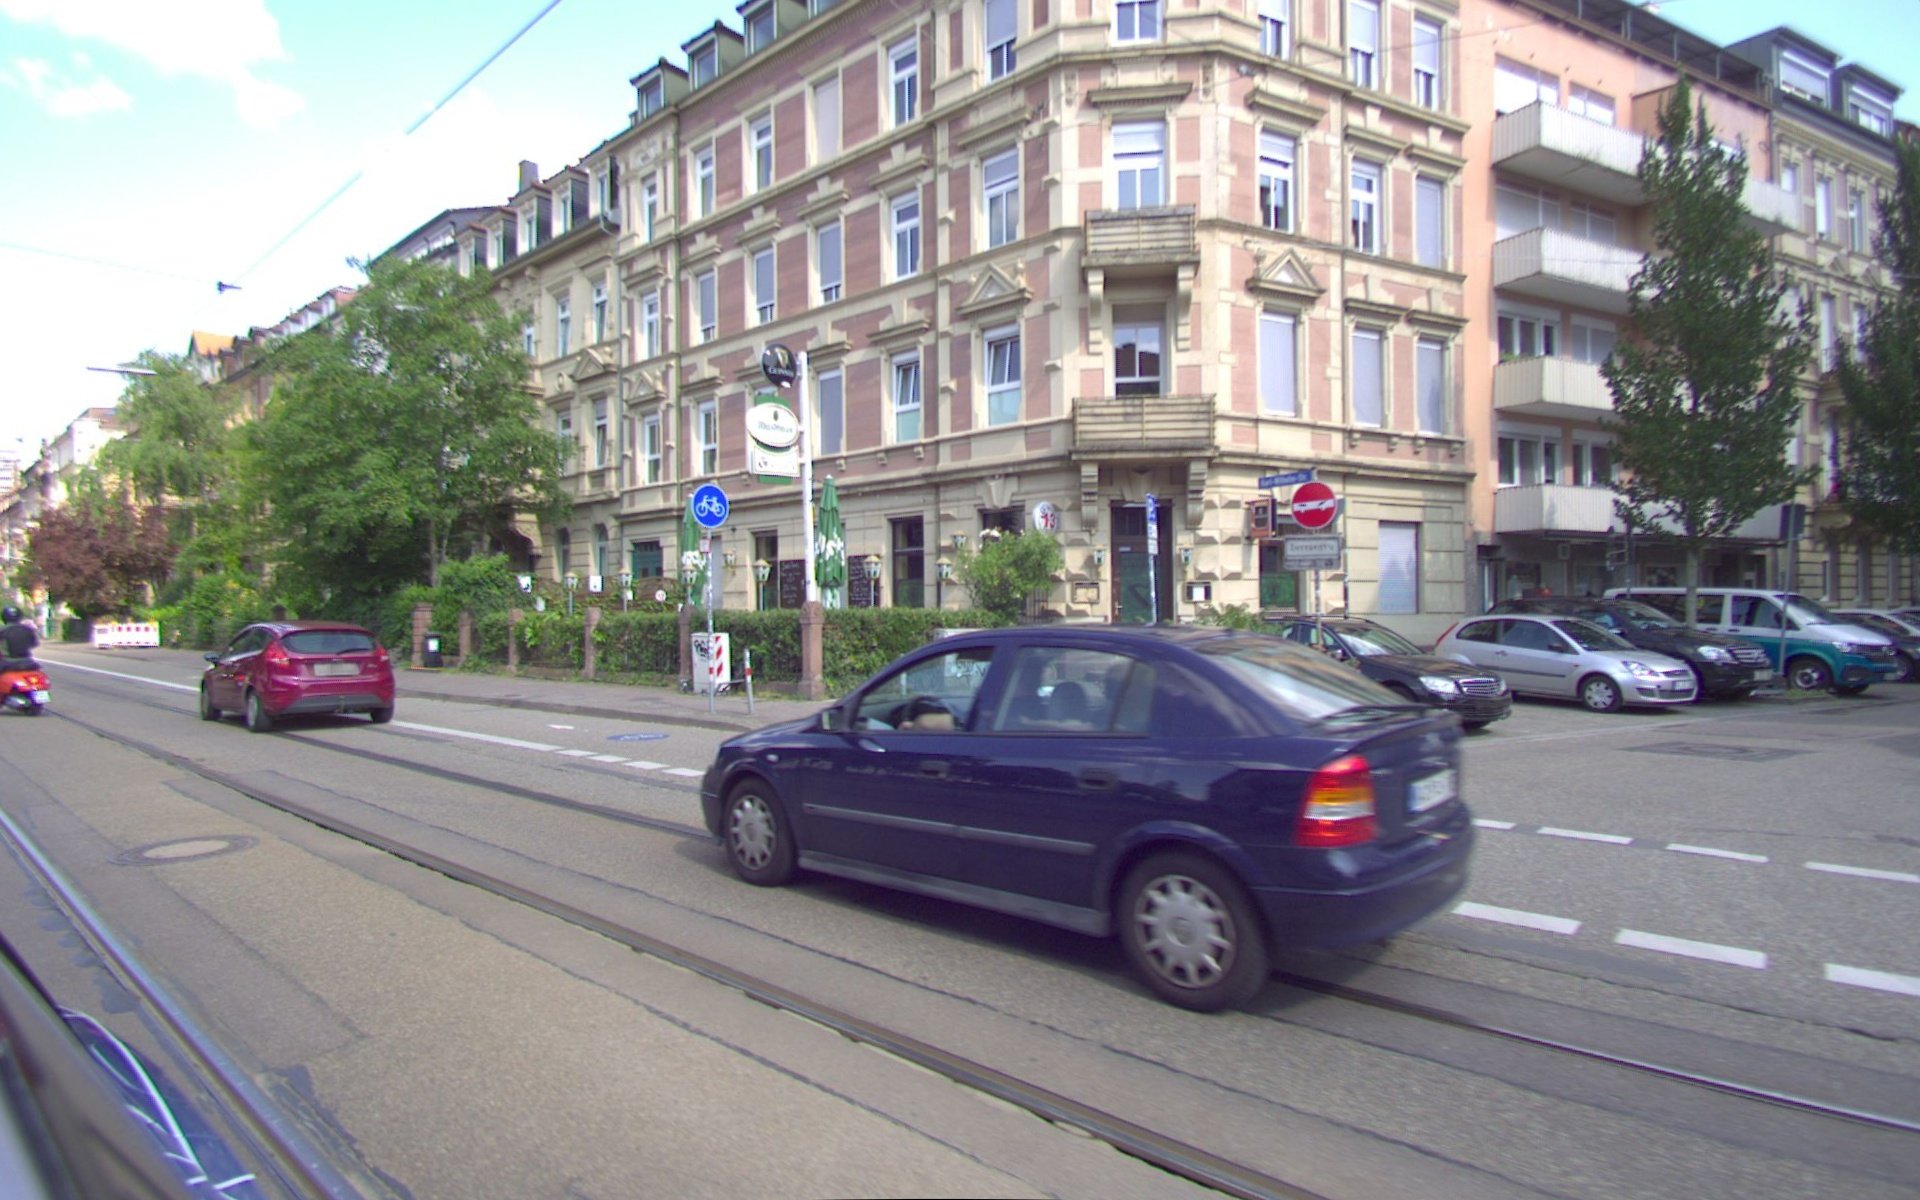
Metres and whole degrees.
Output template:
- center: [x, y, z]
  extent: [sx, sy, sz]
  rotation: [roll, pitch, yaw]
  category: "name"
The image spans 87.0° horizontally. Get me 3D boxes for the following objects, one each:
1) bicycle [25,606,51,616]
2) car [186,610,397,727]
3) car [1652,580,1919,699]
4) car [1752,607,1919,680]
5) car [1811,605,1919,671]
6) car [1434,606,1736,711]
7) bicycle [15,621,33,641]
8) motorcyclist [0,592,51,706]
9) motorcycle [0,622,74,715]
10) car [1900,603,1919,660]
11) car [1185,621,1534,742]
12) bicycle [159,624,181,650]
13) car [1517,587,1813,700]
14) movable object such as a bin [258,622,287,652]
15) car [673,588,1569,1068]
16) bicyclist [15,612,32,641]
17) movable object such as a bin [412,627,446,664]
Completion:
- center: [-88.004, 1.033, 96.615]
  extent: [0.483, 0.948, 1.731]
  rotation: [-1, -2, 40]
  category: "bicycle"
- center: [-9.649, 0.891, 14.493]
  extent: [3.935, 1.451, 1.577]
  rotation: [-1, -2, 42]
  category: "car"
- center: [15.508, 0.675, 19.146]
  extent: [1.675, 2.011, 3.598]
  rotation: [-1, 0, -26]
  category: "car"
- center: [19.716, 0.892, 21.760]
  extent: [1.860, 1.411, 3.781]
  rotation: [-1, 1, -26]
  category: "car"
- center: [21.862, 0.851, 22.723]
  extent: [1.860, 1.411, 3.781]
  rotation: [-1, 1, -26]
  category: "car"
- center: [9.993, 0.844, 16.489]
  extent: [1.860, 1.411, 3.781]
  rotation: [-1, 1, -26]
  category: "car"
- center: [-48.483, 1.606, 52.395]
  extent: [1.918, 0.997, 0.563]
  rotation: [-1, -1, 44]
  category: "bicycle"
- center: [-14.861, 0.745, 15.730]
  extent: [0.914, 1.727, 0.737]
  rotation: [-1, -1, 19]
  category: "motorcyclist"
- center: [-14.874, 1.041, 15.731]
  extent: [2.072, 1.370, 0.737]
  rotation: [-1, -1, 19]
  category: "motorcycle"
- center: [25.324, 0.787, 24.166]
  extent: [1.860, 1.411, 3.781]
  rotation: [-1, 1, -26]
  category: "car"
- center: [5.520, 1.032, 14.846]
  extent: [1.860, 1.375, 4.978]
  rotation: [-1, 0, -21]
  category: "car"
- center: [-34.752, 1.617, 44.509]
  extent: [1.818, 1.146, 0.408]
  rotation: [-1, -1, 41]
  category: "bicycle"
- center: [12.128, 0.687, 17.683]
  extent: [1.860, 1.719, 3.781]
  rotation: [-1, 0, -26]
  category: "car"
- center: [-26.239, 1.422, 38.645]
  extent: [0.733, 1.116, 0.765]
  rotation: [-1, -1, 41]
  category: "movable object such as a bin"
- center: [0.452, 0.699, 4.973]
  extent: [4.127, 1.418, 1.611]
  rotation: [-1, 0, 41]
  category: "car"
- center: [-48.562, 1.368, 52.475]
  extent: [0.942, 1.436, 0.558]
  rotation: [-1, -1, 43]
  category: "bicyclist"
- center: [-13.749, 1.169, 26.210]
  extent: [0.640, 0.932, 0.572]
  rotation: [-1, -1, 41]
  category: "movable object such as a bin"
